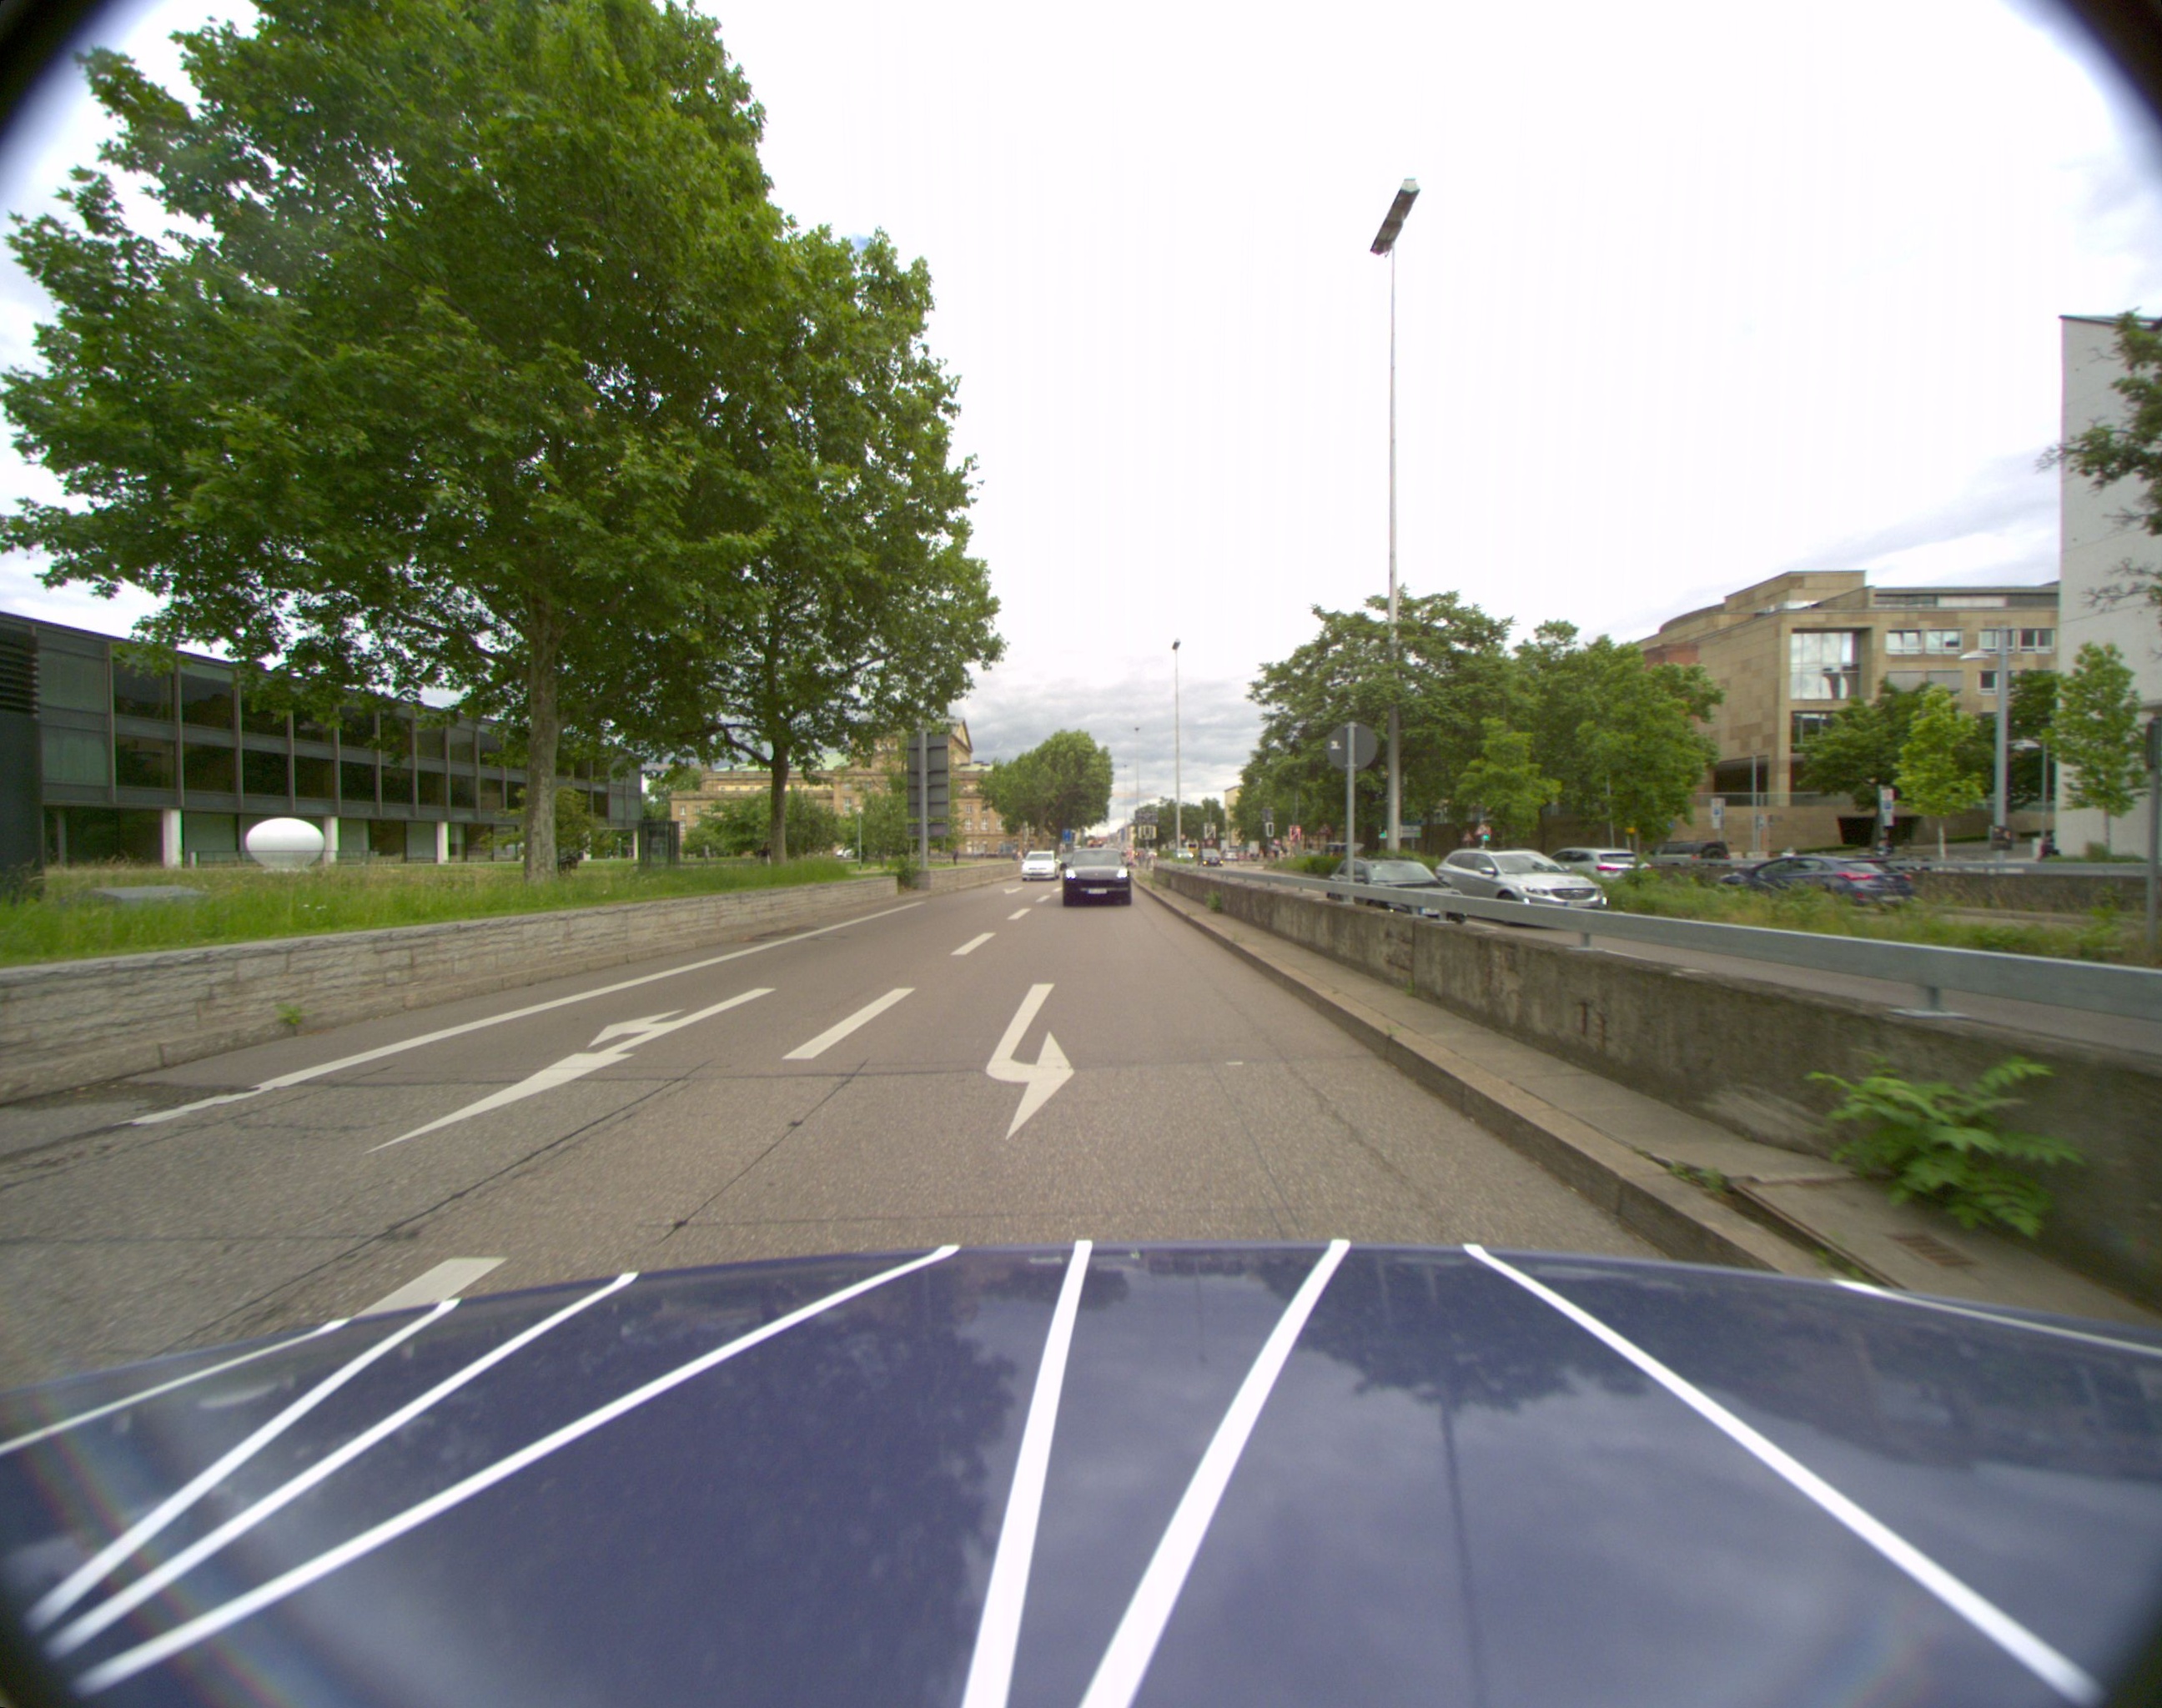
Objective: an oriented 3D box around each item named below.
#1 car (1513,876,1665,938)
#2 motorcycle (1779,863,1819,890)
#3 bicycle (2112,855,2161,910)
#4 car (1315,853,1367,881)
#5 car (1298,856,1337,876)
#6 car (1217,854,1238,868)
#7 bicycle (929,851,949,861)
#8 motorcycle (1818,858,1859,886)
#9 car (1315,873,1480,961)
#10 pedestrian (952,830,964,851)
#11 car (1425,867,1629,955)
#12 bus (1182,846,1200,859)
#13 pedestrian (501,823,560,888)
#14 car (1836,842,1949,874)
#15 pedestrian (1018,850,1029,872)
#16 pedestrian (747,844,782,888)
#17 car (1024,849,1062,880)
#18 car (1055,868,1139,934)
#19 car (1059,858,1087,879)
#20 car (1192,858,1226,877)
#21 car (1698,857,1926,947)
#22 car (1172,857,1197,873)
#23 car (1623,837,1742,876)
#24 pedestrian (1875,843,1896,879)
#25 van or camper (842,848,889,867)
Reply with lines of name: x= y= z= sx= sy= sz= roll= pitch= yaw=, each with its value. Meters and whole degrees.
car: x=16.186 y=1.616 z=24.524 sx=1.862 sy=1.707 sz=4.445 roll=0 pitch=0 yaw=-1
motorcycle: x=34.095 y=1.045 z=36.076 sx=1.892 sy=1.227 sz=0.657 roll=-1 pitch=3 yaw=-24
bicycle: x=34.957 y=0.874 z=23.836 sx=3.622 sy=1.674 sz=1.183 roll=0 pitch=0 yaw=0
car: x=16.696 y=0.818 z=49.081 sx=1.861 sy=1.707 sz=4.445 roll=0 pitch=0 yaw=0
car: x=19.612 y=0.963 z=63.152 sx=1.760 sy=1.453 sz=3.998 roll=-3 pitch=1 yaw=-3
car: x=18.856 y=0.838 z=97.777 sx=1.760 sy=1.647 sz=3.999 roll=-3 pitch=1 yaw=-1
bicycle: x=-17.005 y=0.261 z=90.991 sx=2.197 sy=1.135 sz=0.686 roll=0 pitch=0 yaw=1
motorcycle: x=34.372 y=0.813 z=34.472 sx=1.892 sy=1.227 sz=0.657 roll=-1 pitch=3 yaw=-24
car: x=6.847 y=1.288 z=16.965 sx=1.768 sy=1.507 sz=4.151 roll=-2 pitch=1 yaw=-3
pedestrian: x=-9.852 y=-1.067 z=61.033 sx=0.803 sy=1.617 sz=0.626 roll=0 pitch=0 yaw=9
car: x=10.023 y=1.184 z=17.618 sx=1.998 sy=1.607 sz=4.738 roll=-1 pitch=1 yaw=1
bus: x=27.225 y=-0.370 z=188.043 sx=2.920 sy=3.285 sz=10.448 roll=-1 pitch=0 yaw=0
pedestrian: x=-16.279 y=0.038 z=22.486 sx=0.997 sy=1.826 sz=1.031 roll=-2 pitch=1 yaw=33
car: x=42.183 y=0.185 z=39.545 sx=3.997 sy=1.269 sz=1.751 roll=-4 pitch=3 yaw=1
pedestrian: x=-4.300 y=0.522 z=56.644 sx=0.699 sy=1.646 sz=0.684 roll=-3 pitch=1 yaw=1
pedestrian: x=-12.815 y=0.480 z=30.767 sx=0.898 sy=1.722 sz=0.969 roll=-3 pitch=0 yaw=2
car: x=-2.045 y=0.544 z=42.278 sx=1.695 sy=1.585 sz=4.000 roll=-1 pitch=1 yaw=3
car: x=0.330 y=1.314 z=22.071 sx=2.062 sy=1.615 sz=4.602 roll=-3 pitch=-2 yaw=-3
car: x=-0.721 y=1.178 z=62.967 sx=2.062 sy=1.616 sz=4.600 roll=-3 pitch=0 yaw=-3
car: x=10.673 y=1.095 z=63.464 sx=1.999 sy=1.474 sz=4.809 roll=-1 pitch=0 yaw=0
car: x=19.177 y=1.162 z=20.221 sx=1.999 sy=2.002 sz=3.998 roll=-3 pitch=1 yaw=-5
car: x=10.788 y=1.150 z=79.561 sx=1.998 sy=1.636 sz=4.000 roll=-2 pitch=0 yaw=0
car: x=27.936 y=0.091 z=35.489 sx=1.862 sy=1.707 sz=4.389 roll=0 pitch=0 yaw=-5
pedestrian: x=35.575 y=0.293 z=33.586 sx=0.884 sy=1.548 sz=0.596 roll=-1 pitch=1 yaw=-41
van or camper: x=-30.033 y=0.467 z=105.933 sx=5.711 sy=2.307 sz=2.320 roll=-2 pitch=2 yaw=1
